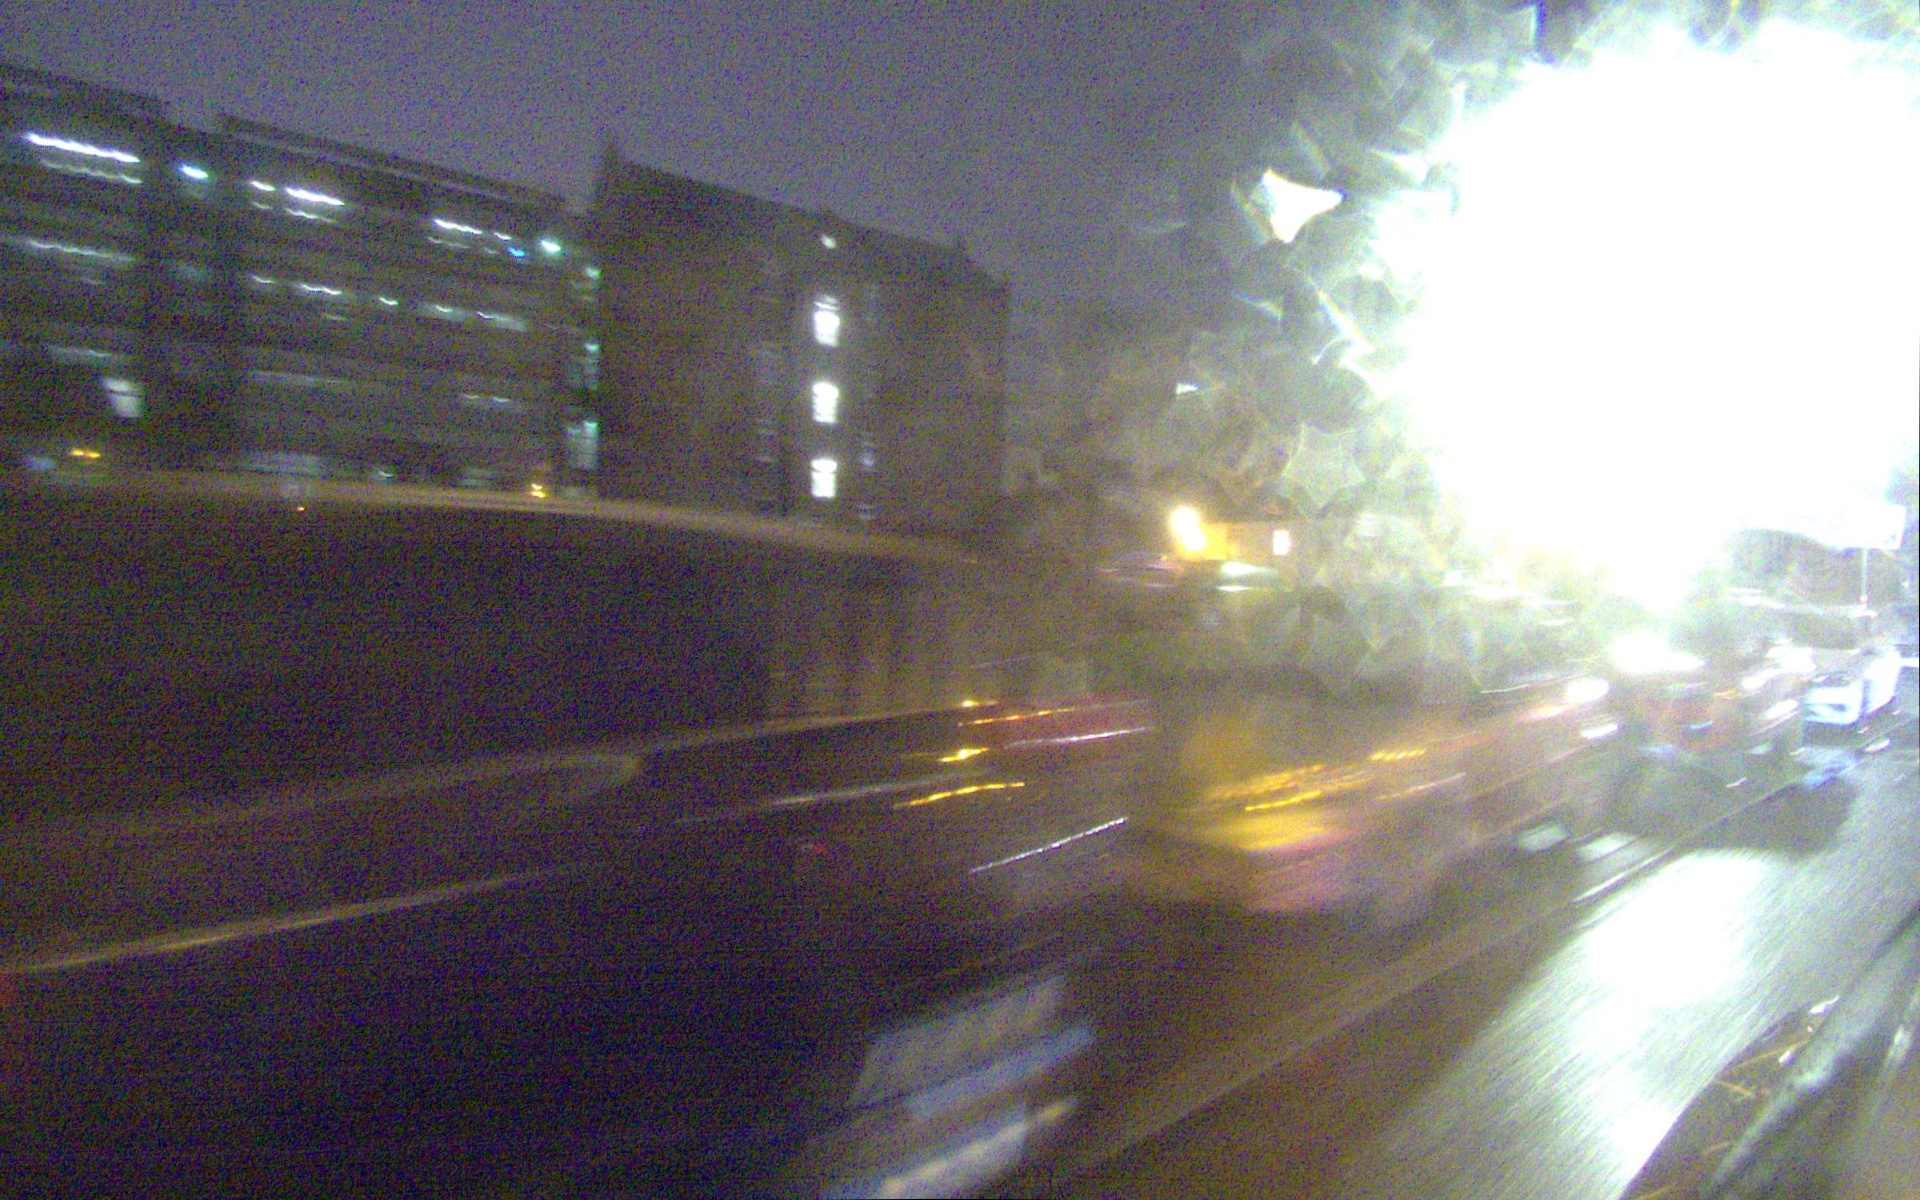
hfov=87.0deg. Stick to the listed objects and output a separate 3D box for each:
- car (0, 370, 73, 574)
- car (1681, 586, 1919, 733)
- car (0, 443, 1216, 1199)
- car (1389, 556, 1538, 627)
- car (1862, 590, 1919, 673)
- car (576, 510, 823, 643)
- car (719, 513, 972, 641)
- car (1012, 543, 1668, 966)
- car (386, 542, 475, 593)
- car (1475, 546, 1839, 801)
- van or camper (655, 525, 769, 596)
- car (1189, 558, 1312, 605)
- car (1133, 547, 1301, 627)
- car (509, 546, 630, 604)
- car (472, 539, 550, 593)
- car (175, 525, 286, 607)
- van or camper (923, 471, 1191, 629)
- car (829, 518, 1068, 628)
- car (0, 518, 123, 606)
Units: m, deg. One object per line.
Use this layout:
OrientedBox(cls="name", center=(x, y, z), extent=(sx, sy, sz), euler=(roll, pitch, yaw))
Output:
OrientedBox(cls="car", center=(-10.280, -1.235, 10.251), extent=(1.717, 1.811, 4.077), euler=(1, 2, -38))
OrientedBox(cls="car", center=(10.934, 0.621, 12.982), extent=(4.359, 1.507, 1.717), euler=(0, 3, -41))
OrientedBox(cls="car", center=(-1.606, 0.544, 2.004), extent=(4.450, 1.591, 1.885), euler=(1, 4, -42))
OrientedBox(cls="car", center=(13.268, -0.225, 26.594), extent=(4.181, 1.717, 1.909), euler=(0, 1, -38))
OrientedBox(cls="car", center=(19.320, 0.608, 19.859), extent=(4.707, 1.466, 1.794), euler=(0, 4, -41))
OrientedBox(cls="car", center=(-3.662, -0.355, 13.751), extent=(1.655, 1.539, 3.996), euler=(1, 2, -40))
OrientedBox(cls="car", center=(-1.844, -0.377, 15.069), extent=(1.655, 1.637, 4.227), euler=(1, 2, -40))
OrientedBox(cls="car", center=(2.404, 0.563, 5.835), extent=(4.081, 1.547, 1.758), euler=(1, 4, -41))
OrientedBox(cls="car", center=(-18.173, -1.129, 34.610), extent=(1.959, 1.607, 4.602), euler=(0, 3, -37))
OrientedBox(cls="car", center=(6.411, 0.503, 9.116), extent=(4.115, 1.728, 1.716), euler=(1, 4, -42))
OrientedBox(cls="van or camper", center=(-9.891, -1.581, 39.987), extent=(2.339, 2.585, 5.392), euler=(0, 3, -38))
OrientedBox(cls="car", center=(9.711, -0.599, 33.714), extent=(4.181, 1.486, 1.831), euler=(0, 1, -38))
OrientedBox(cls="car", center=(5.254, -0.259, 20.523), extent=(3.345, 1.487, 1.567), euler=(1, 2, -39))
OrientedBox(cls="car", center=(-10.114, -0.667, 26.068), extent=(1.652, 1.370, 3.995), euler=(1, 2, -40))
OrientedBox(cls="car", center=(-16.064, -1.225, 36.114), extent=(1.674, 1.802, 3.999), euler=(1, 2, -37))
OrientedBox(cls="car", center=(-15.762, -0.751, 21.792), extent=(1.742, 1.582, 3.998), euler=(1, 2, -38))
OrientedBox(cls="van or camper", center=(1.638, -0.908, 19.043), extent=(2.131, 2.558, 5.079), euler=(1, 2, -36))
OrientedBox(cls="car", center=(-0.316, -0.492, 17.317), extent=(1.774, 1.637, 4.227), euler=(1, 2, -40))
OrientedBox(cls="car", center=(-18.099, -0.775, 20.235), extent=(1.799, 1.584, 4.152), euler=(1, 2, -44))
